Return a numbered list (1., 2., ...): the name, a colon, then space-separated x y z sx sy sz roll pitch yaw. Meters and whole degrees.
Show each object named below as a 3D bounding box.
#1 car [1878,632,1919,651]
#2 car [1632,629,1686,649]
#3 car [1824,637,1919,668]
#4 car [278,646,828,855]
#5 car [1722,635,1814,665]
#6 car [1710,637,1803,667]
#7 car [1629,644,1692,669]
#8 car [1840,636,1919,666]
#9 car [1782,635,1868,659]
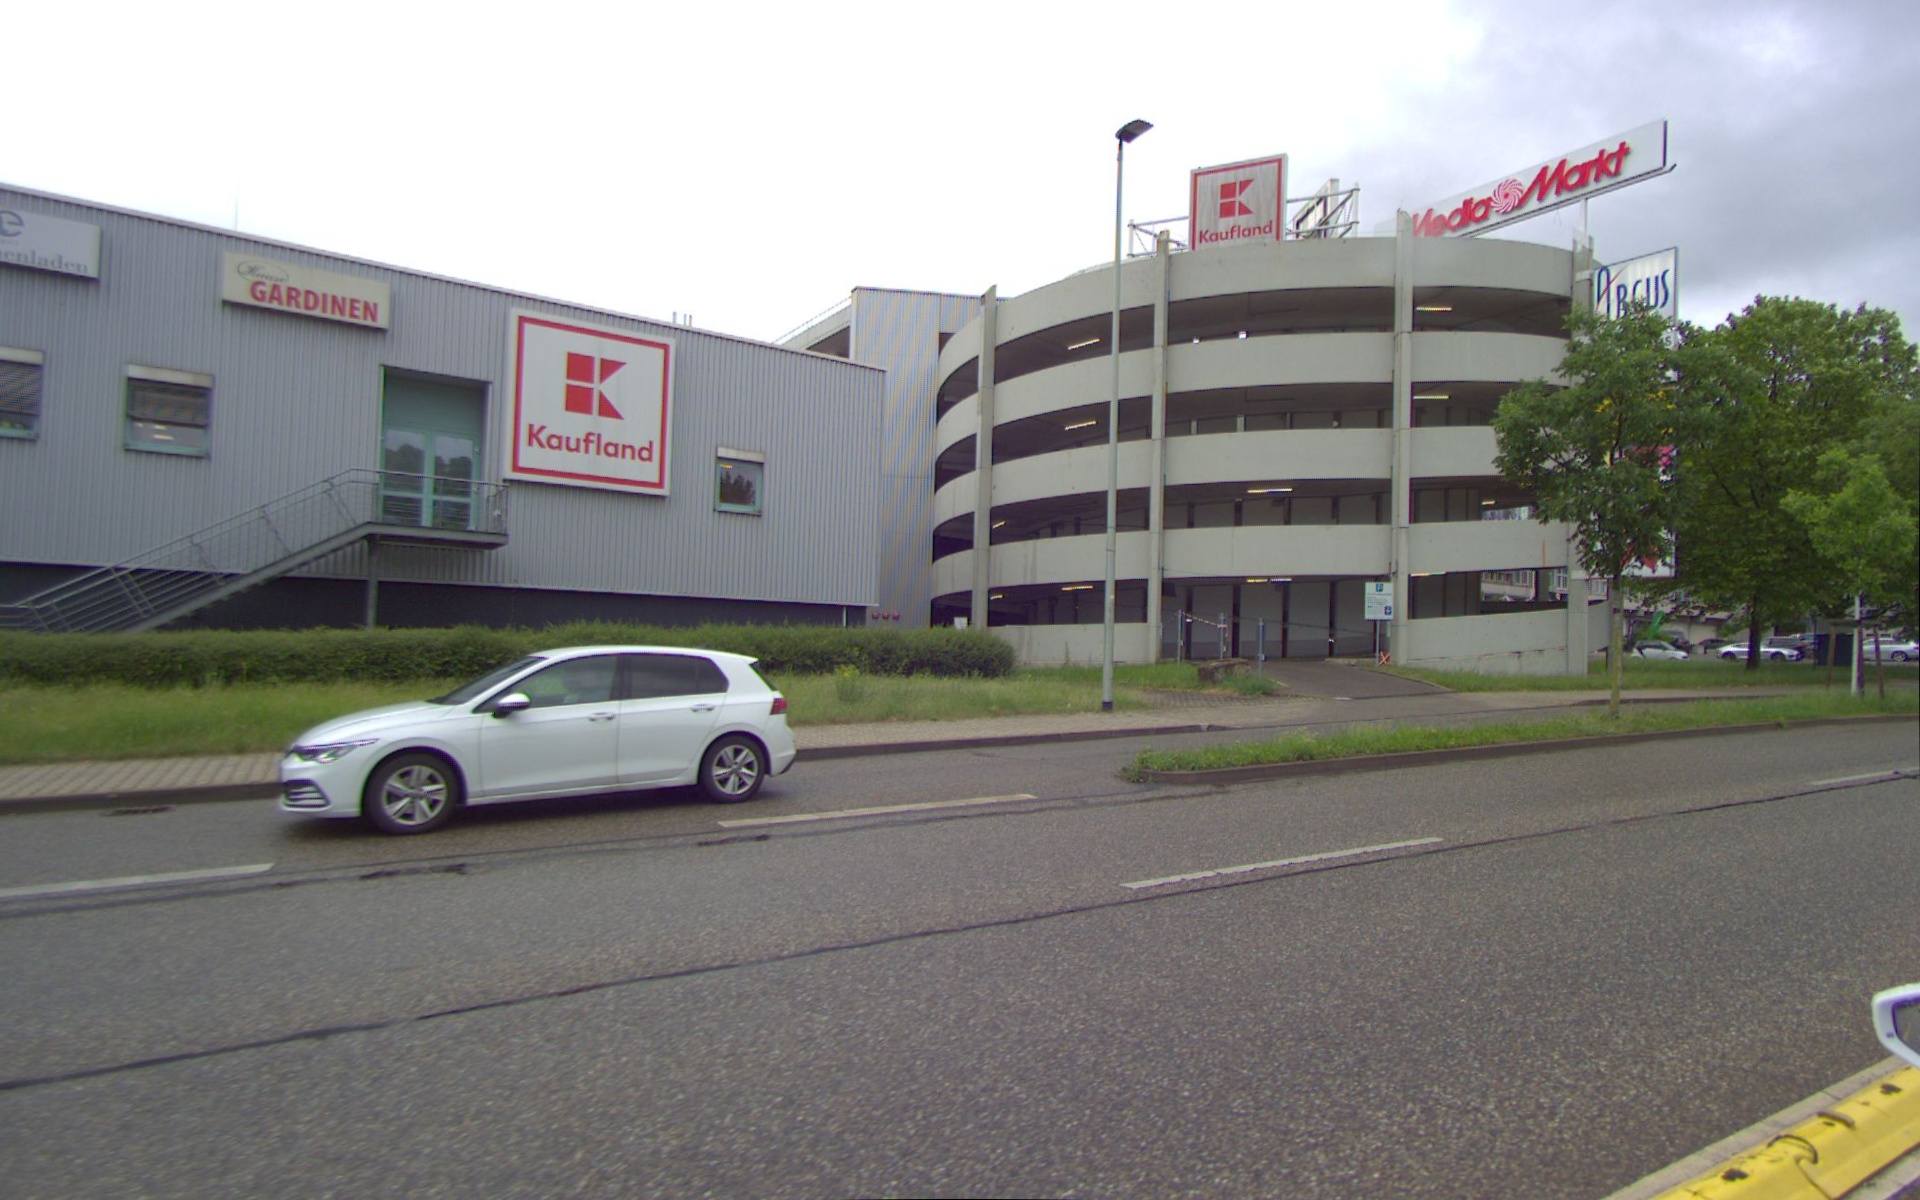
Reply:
1. car: 83.393 3.686 88.017 1.801 1.530 4.081 0 0 -35
2. car: 67.818 3.759 97.451 1.781 1.755 3.962 0 0 -34
3. car: 59.805 3.389 65.754 1.948 1.769 4.567 0 0 -35
4. car: -3.585 1.158 9.191 4.380 1.427 1.887 1 -2 -35
5. car: 55.298 3.384 68.797 2.115 1.769 4.562 0 0 -39
6. car: 53.014 3.436 66.892 1.950 1.769 4.562 0 0 -39
7. car: 41.066 3.324 58.922 1.595 1.383 2.676 0 -2 -38
8. car: 62.079 3.373 67.255 1.882 1.769 4.468 0 0 -35
9. car: 64.461 3.484 74.910 2.005 1.530 4.579 0 0 -35
